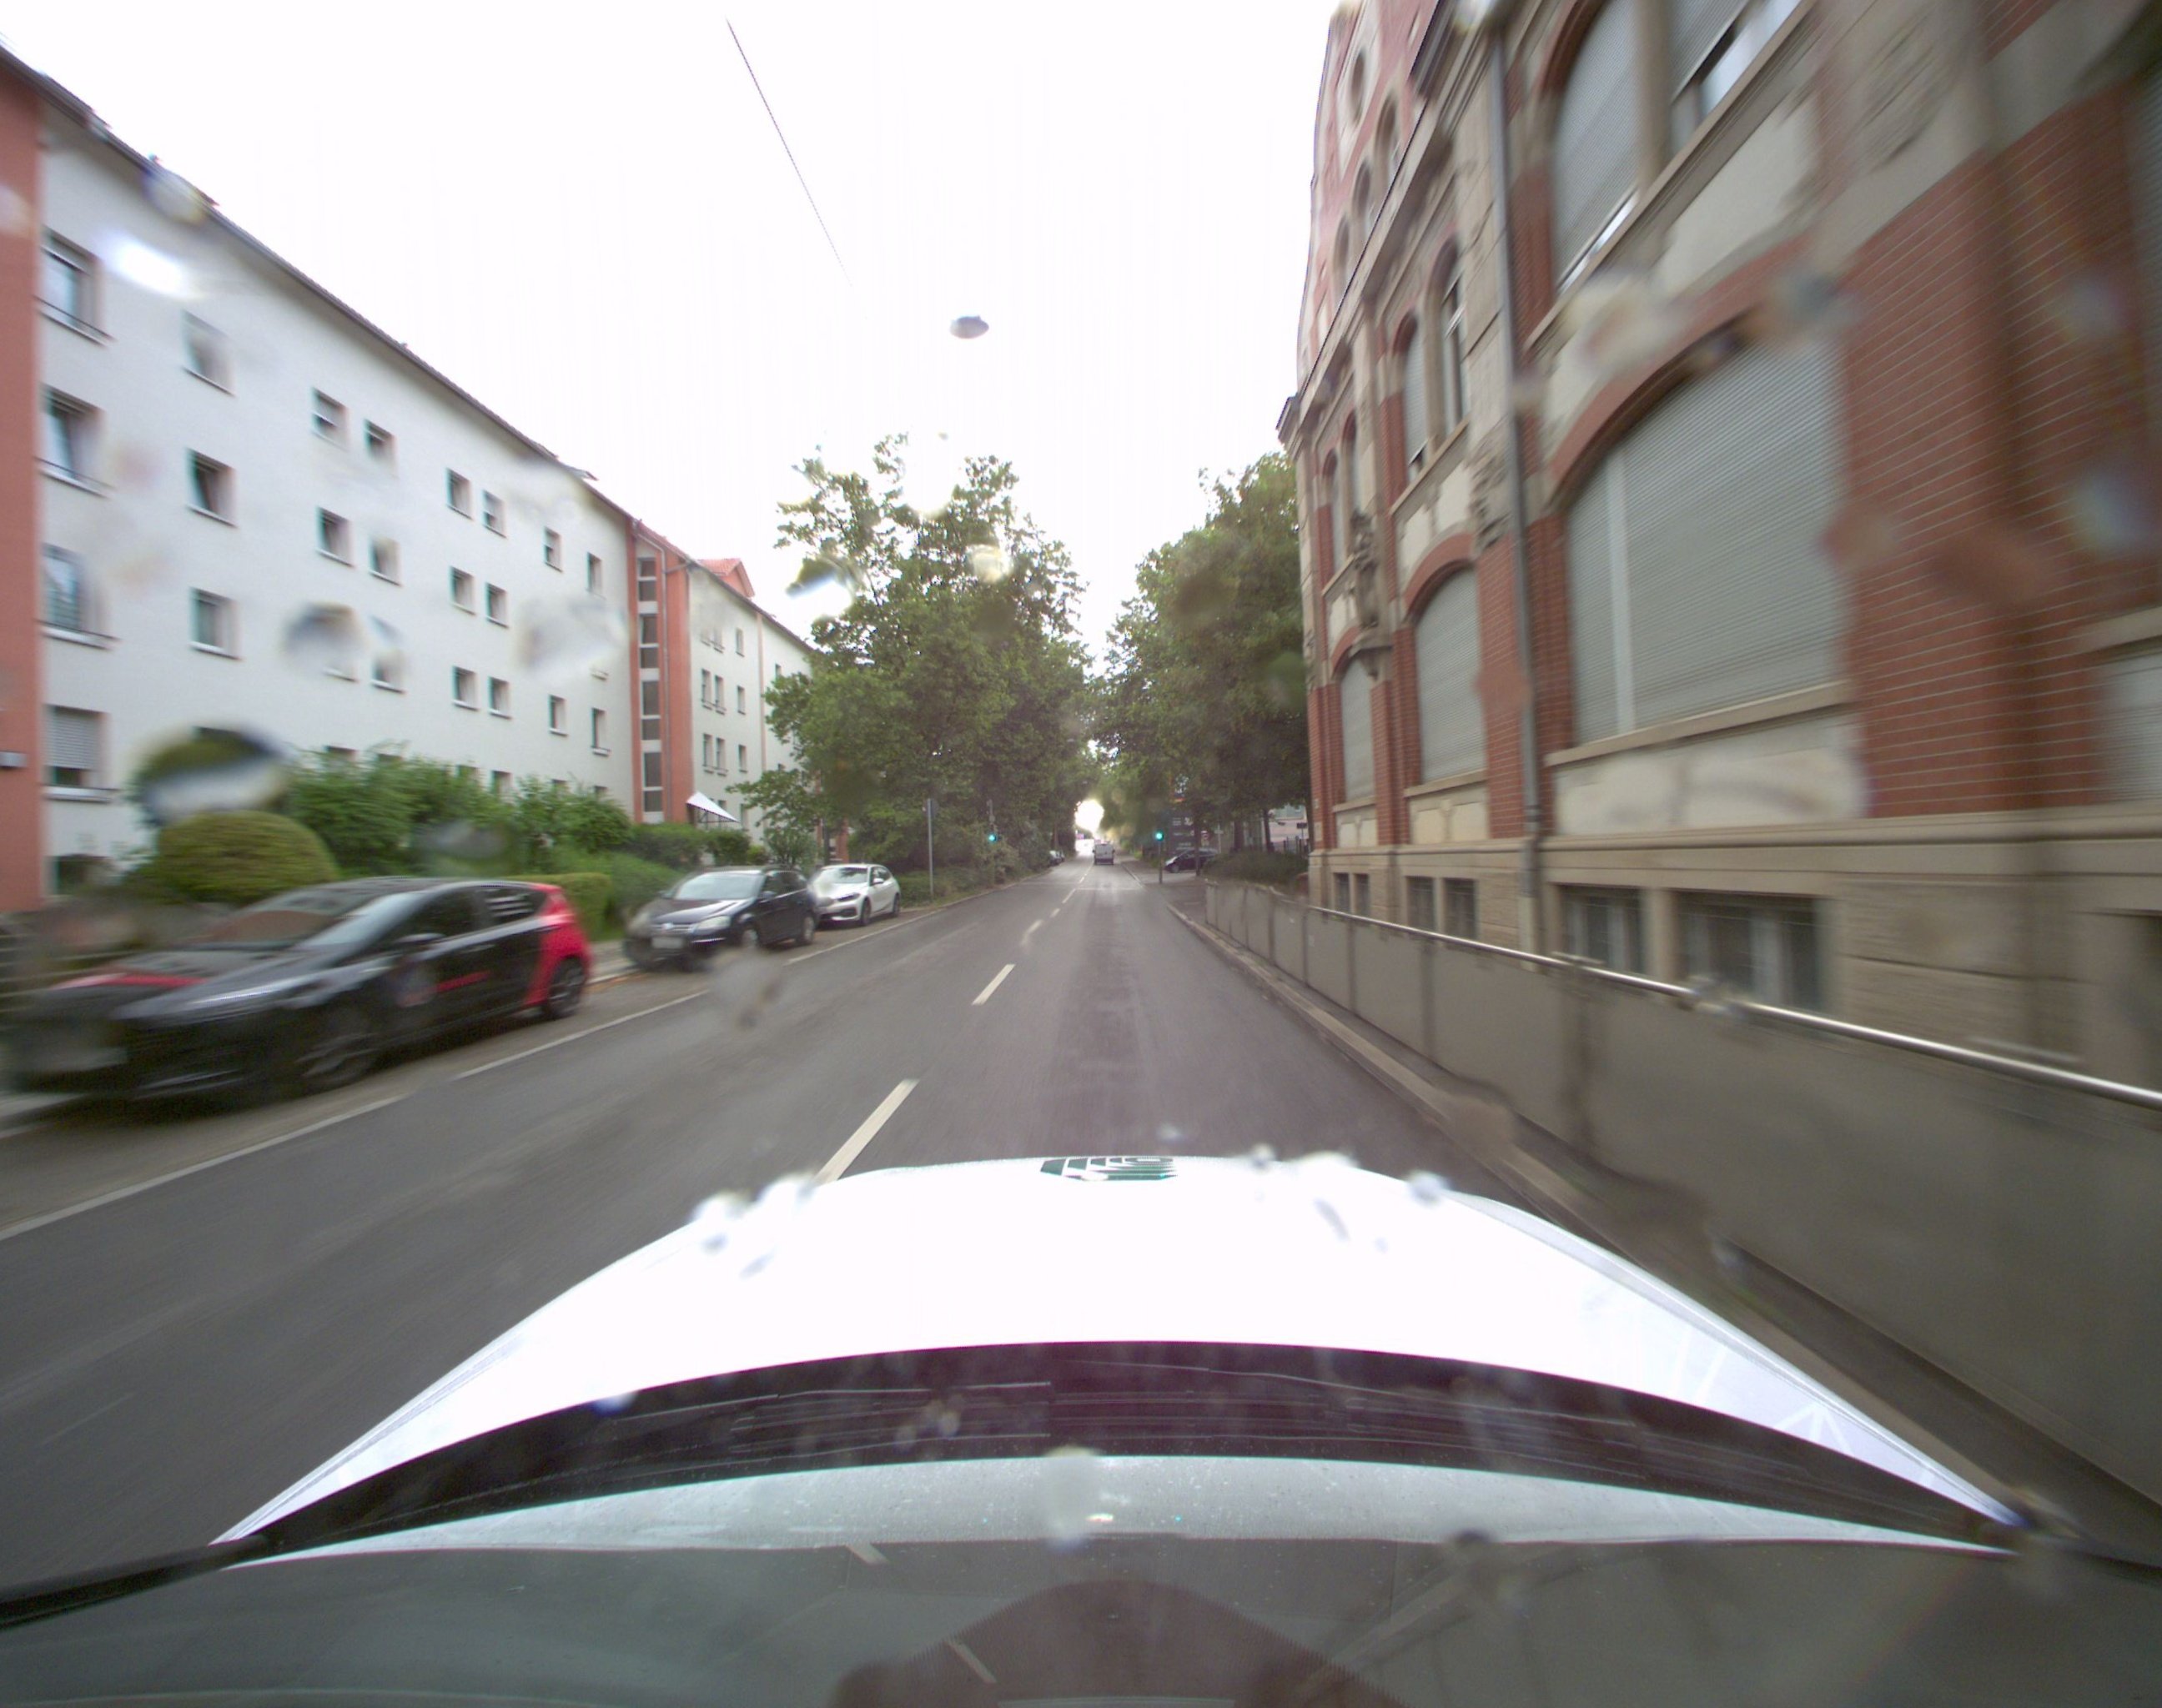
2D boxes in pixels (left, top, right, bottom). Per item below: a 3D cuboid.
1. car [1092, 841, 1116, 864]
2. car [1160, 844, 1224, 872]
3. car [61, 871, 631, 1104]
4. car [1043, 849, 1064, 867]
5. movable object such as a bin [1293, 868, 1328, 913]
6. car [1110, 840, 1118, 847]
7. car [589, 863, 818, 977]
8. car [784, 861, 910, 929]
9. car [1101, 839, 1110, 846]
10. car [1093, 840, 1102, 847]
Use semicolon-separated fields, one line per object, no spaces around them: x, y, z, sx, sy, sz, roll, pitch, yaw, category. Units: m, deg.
2.459;-0.158;85.878;2.327;2.231;4.002;-3;0;2;car
7.384;0.249;54.405;3.842;1.547;2.023;-4;0;-5;car
-5.984;0.936;7.360;1.711;1.467;3.755;-1;0;0;car
-2.752;0.419;82.403;1.858;1.591;4.240;-4;1;1;car
5.133;0.809;18.259;0.588;0.932;0.572;-4;0;1;movable object such as a bin
9.372;-2.931;229.652;1.921;1.709;3.879;0;-1;6;car
-5.756;0.904;13.062;1.712;1.467;4.232;-1;0;-1;car
-5.671;0.938;20.336;1.710;1.467;4.312;-1;0;2;car
6.782;-3.081;221.361;2.138;1.709;3.879;0;-1;6;car
4.719;-2.924;230.242;2.149;1.709;3.879;0;-1;6;car
